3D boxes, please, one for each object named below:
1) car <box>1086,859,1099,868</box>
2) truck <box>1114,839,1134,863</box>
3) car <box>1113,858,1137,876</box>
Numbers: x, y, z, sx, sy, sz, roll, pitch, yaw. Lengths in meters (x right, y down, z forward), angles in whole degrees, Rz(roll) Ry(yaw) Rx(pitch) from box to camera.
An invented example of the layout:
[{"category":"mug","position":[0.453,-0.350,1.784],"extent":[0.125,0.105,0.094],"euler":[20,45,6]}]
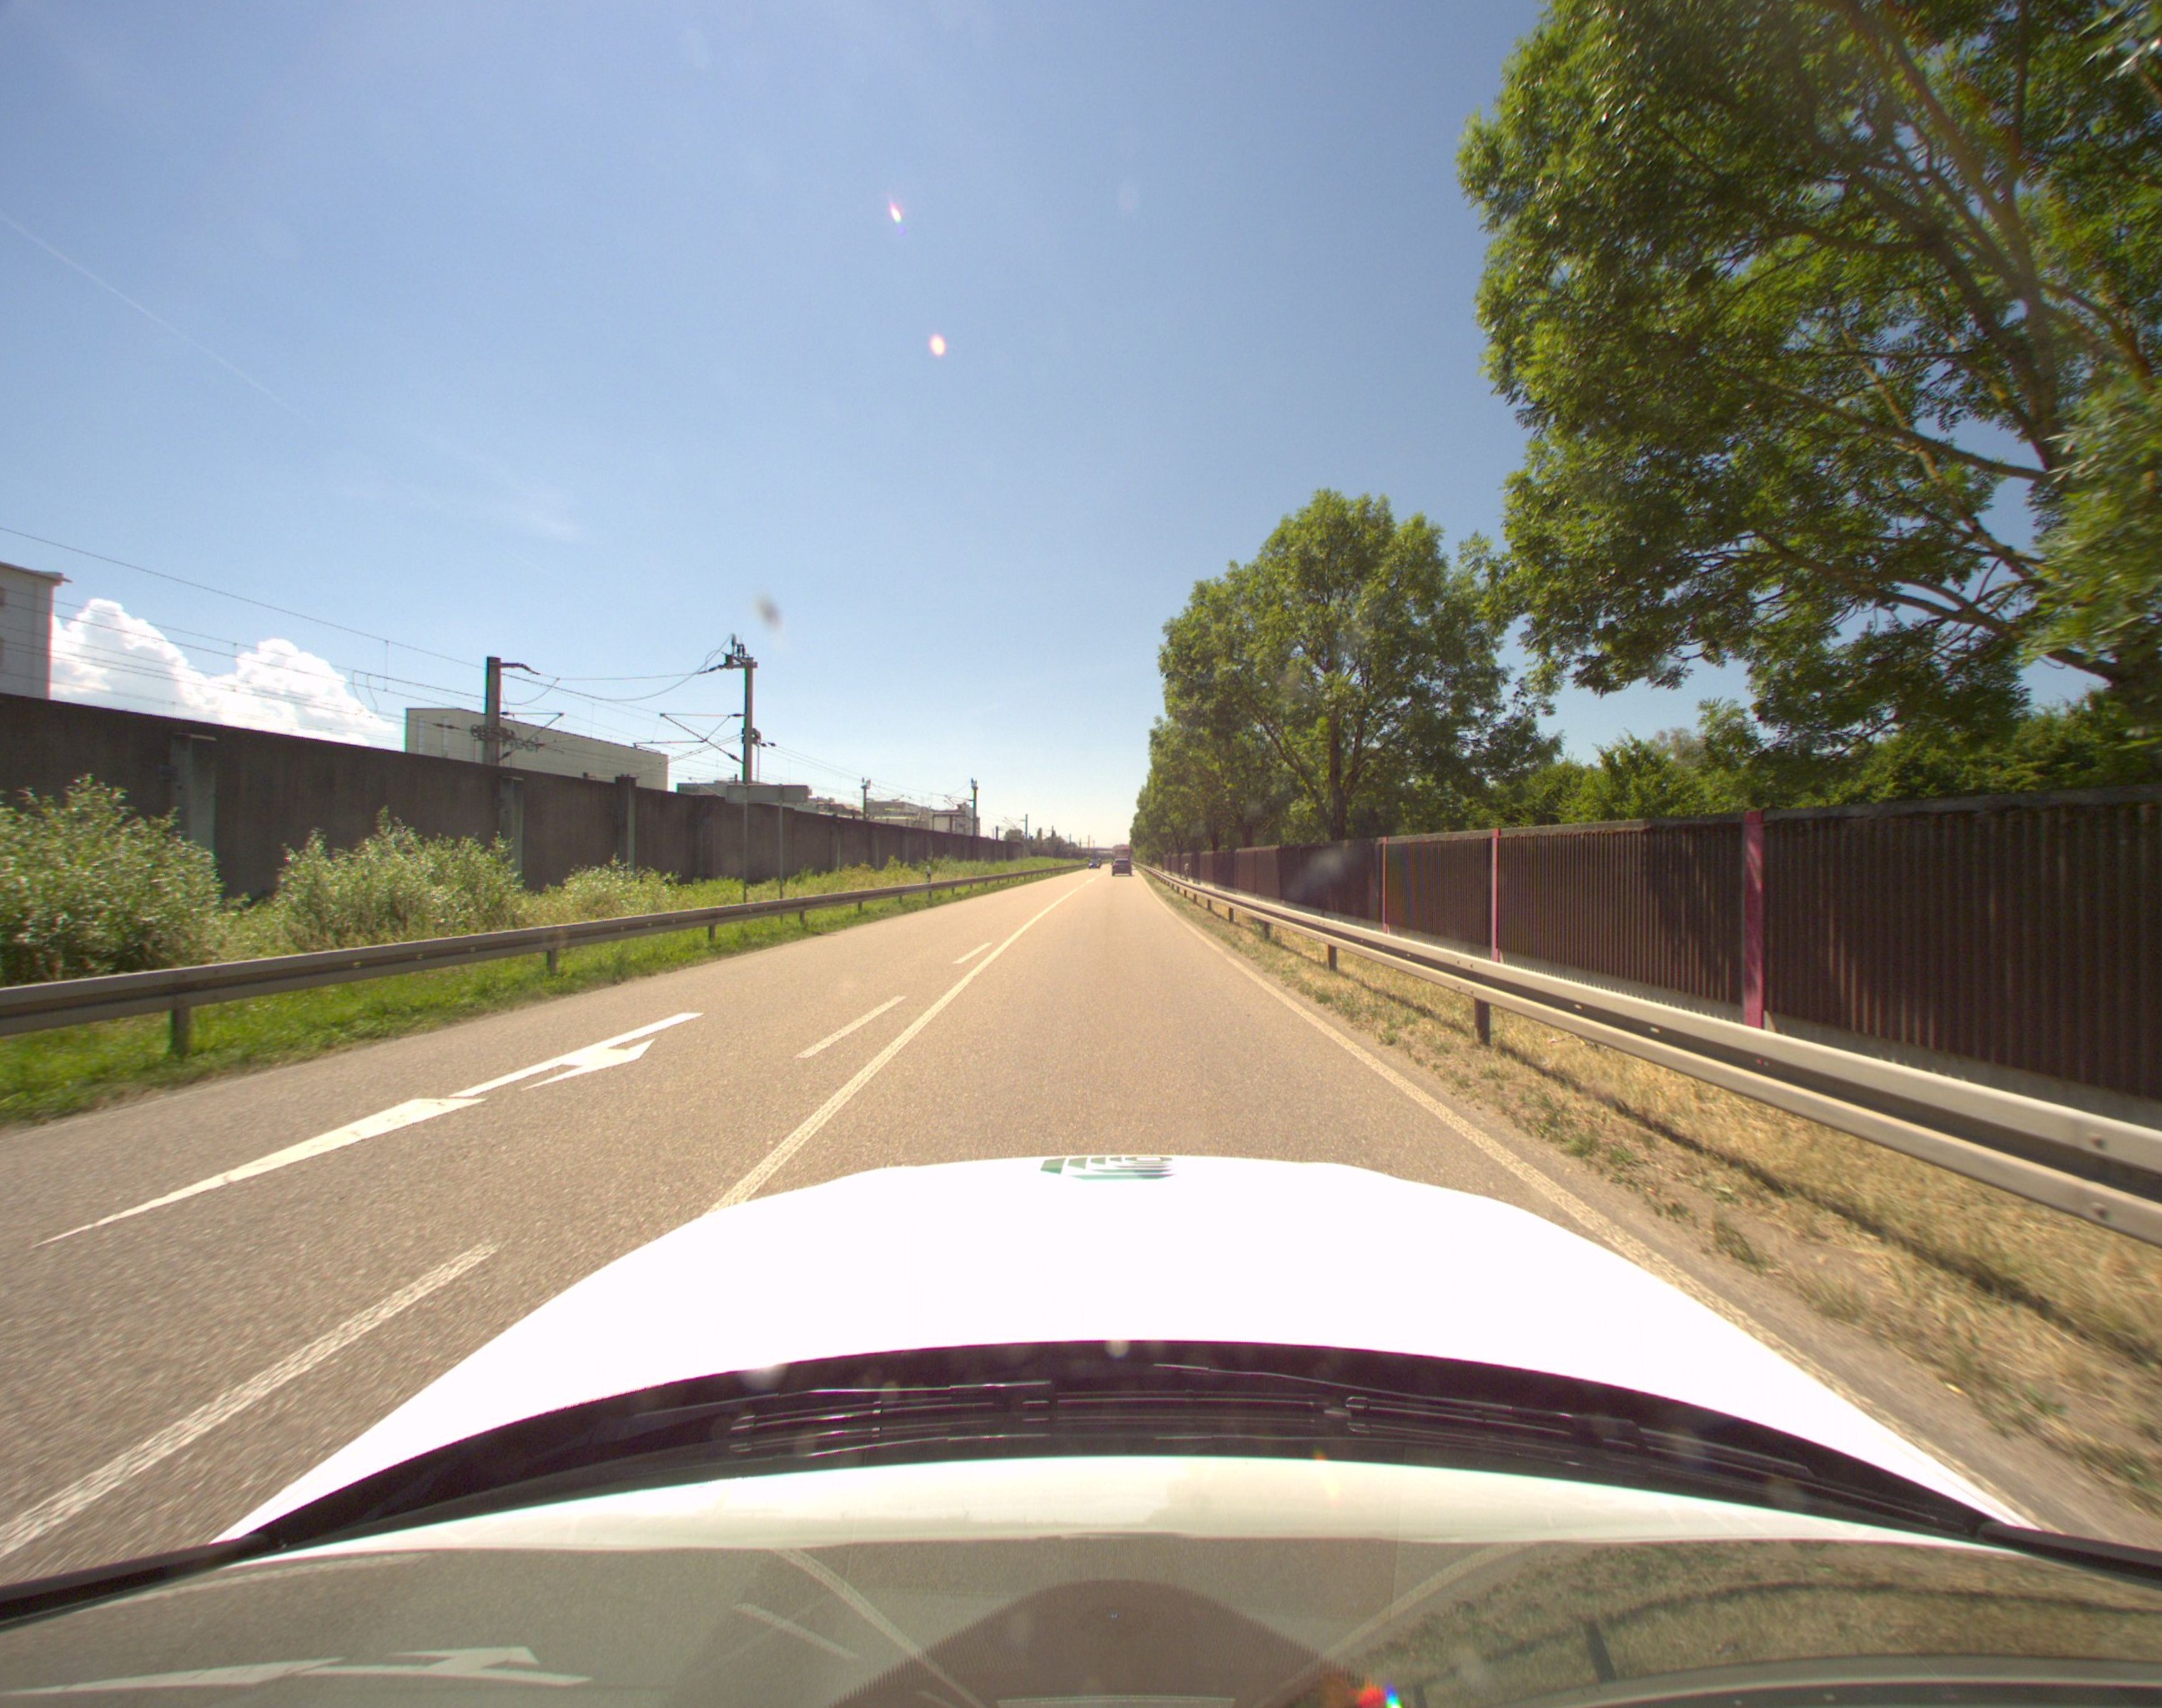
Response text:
[{"category":"car","position":[1.809,1.505,128.983],"extent":[1.987,1.508,4.000],"euler":[-1,0,1]},{"category":"truck","position":[6.363,-0.342,119.831],"extent":[2.758,3.425,10.827],"euler":[0,-1,3]},{"category":"car","position":[3.972,1.166,74.427],"extent":[1.986,1.508,4.001],"euler":[-1,0,1]}]
